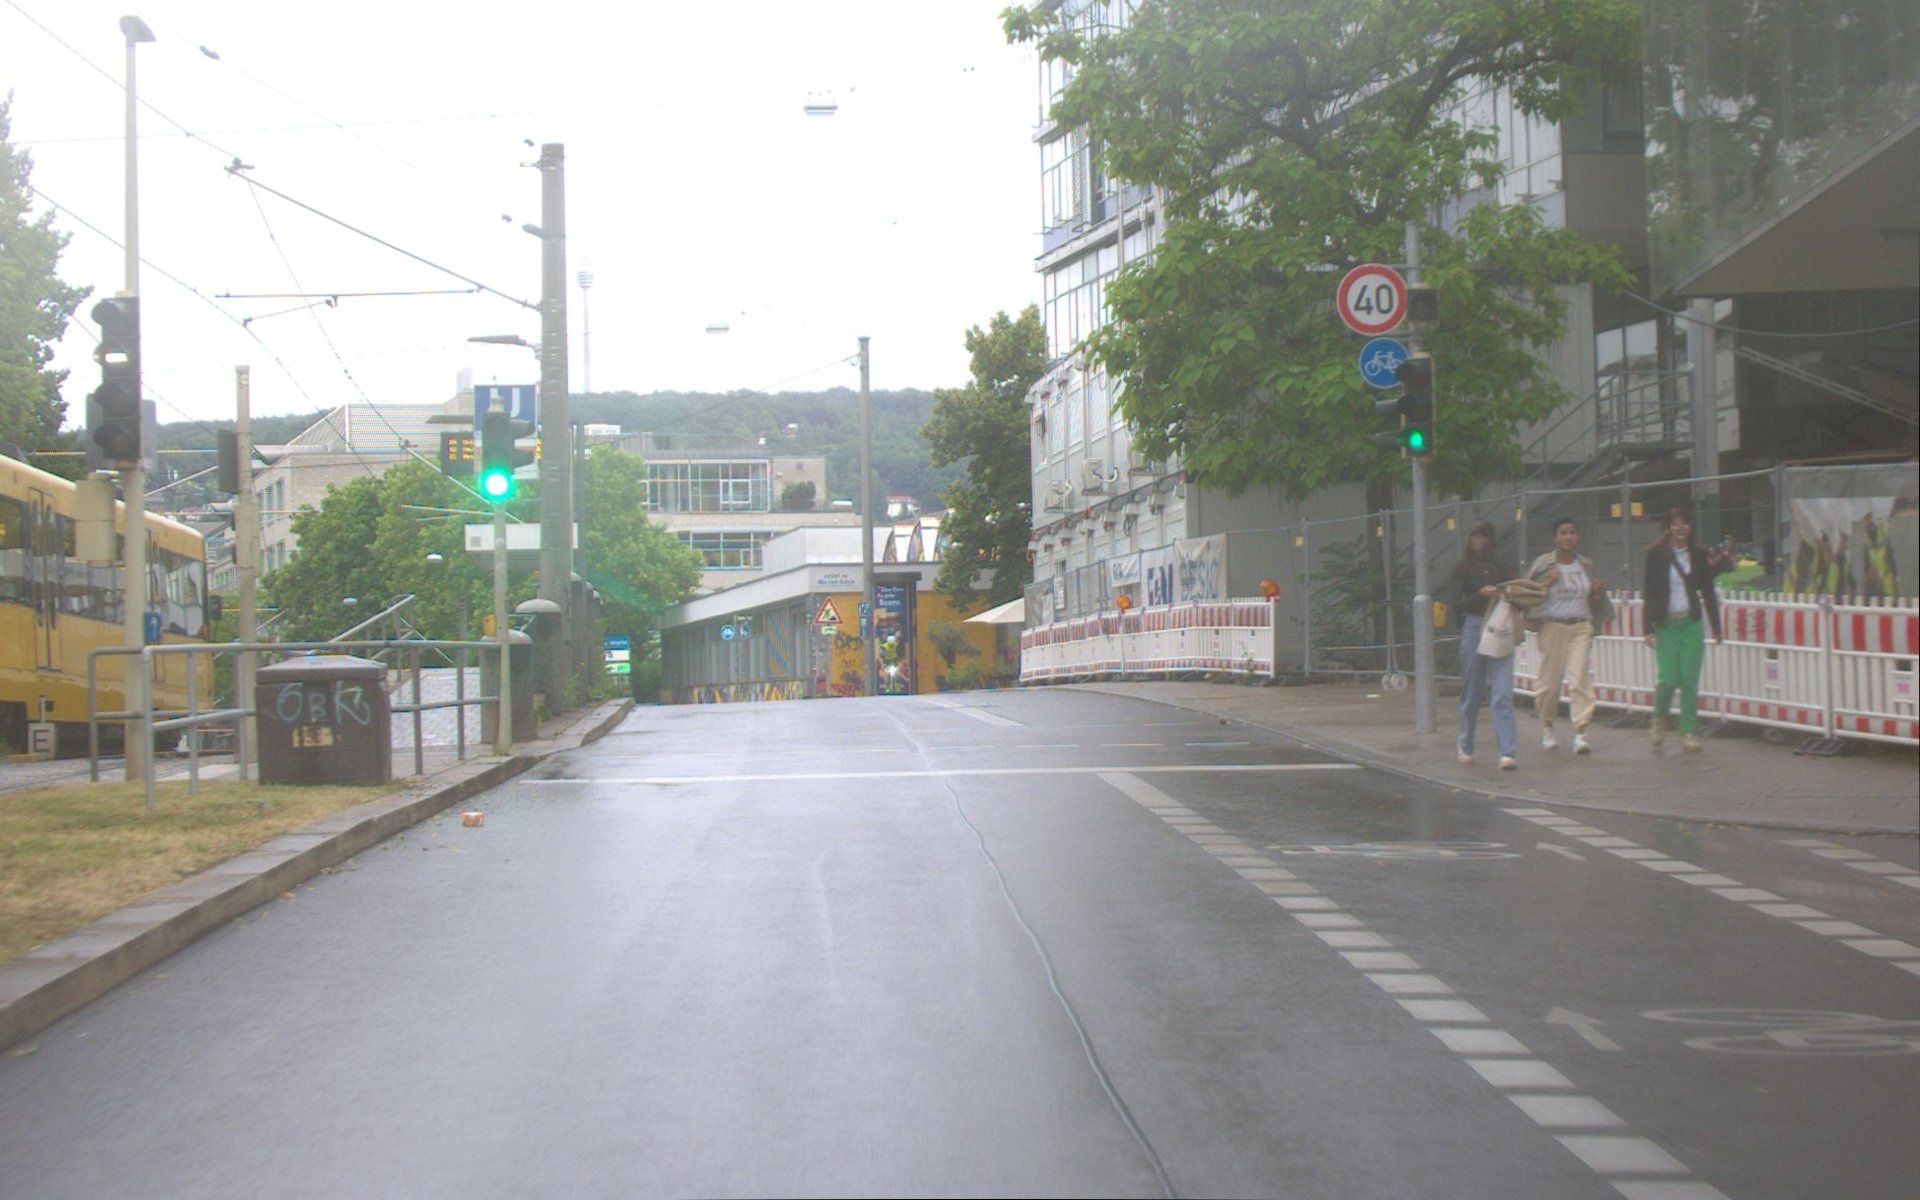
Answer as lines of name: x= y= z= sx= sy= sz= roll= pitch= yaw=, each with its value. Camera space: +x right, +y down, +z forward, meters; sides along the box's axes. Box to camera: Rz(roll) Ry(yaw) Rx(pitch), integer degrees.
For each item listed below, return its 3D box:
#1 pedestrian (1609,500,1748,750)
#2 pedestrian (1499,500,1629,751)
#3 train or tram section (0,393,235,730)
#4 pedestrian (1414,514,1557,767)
pedestrian: x=5.249 y=0.168 z=25.170 sx=0.699 sy=1.779 sz=1.067 roll=-1 pitch=1 yaw=-4
pedestrian: x=4.459 y=0.172 z=25.441 sx=0.699 sy=1.809 sz=0.977 roll=-1 pitch=1 yaw=-4
train or tram section: x=-12.168 y=-0.372 z=43.874 sx=2.746 sy=3.684 sz=18.972 roll=-1 pitch=0 yaw=-3
pedestrian: x=3.681 y=0.268 z=24.151 sx=0.736 sy=1.724 sz=1.119 roll=-1 pitch=1 yaw=-4
